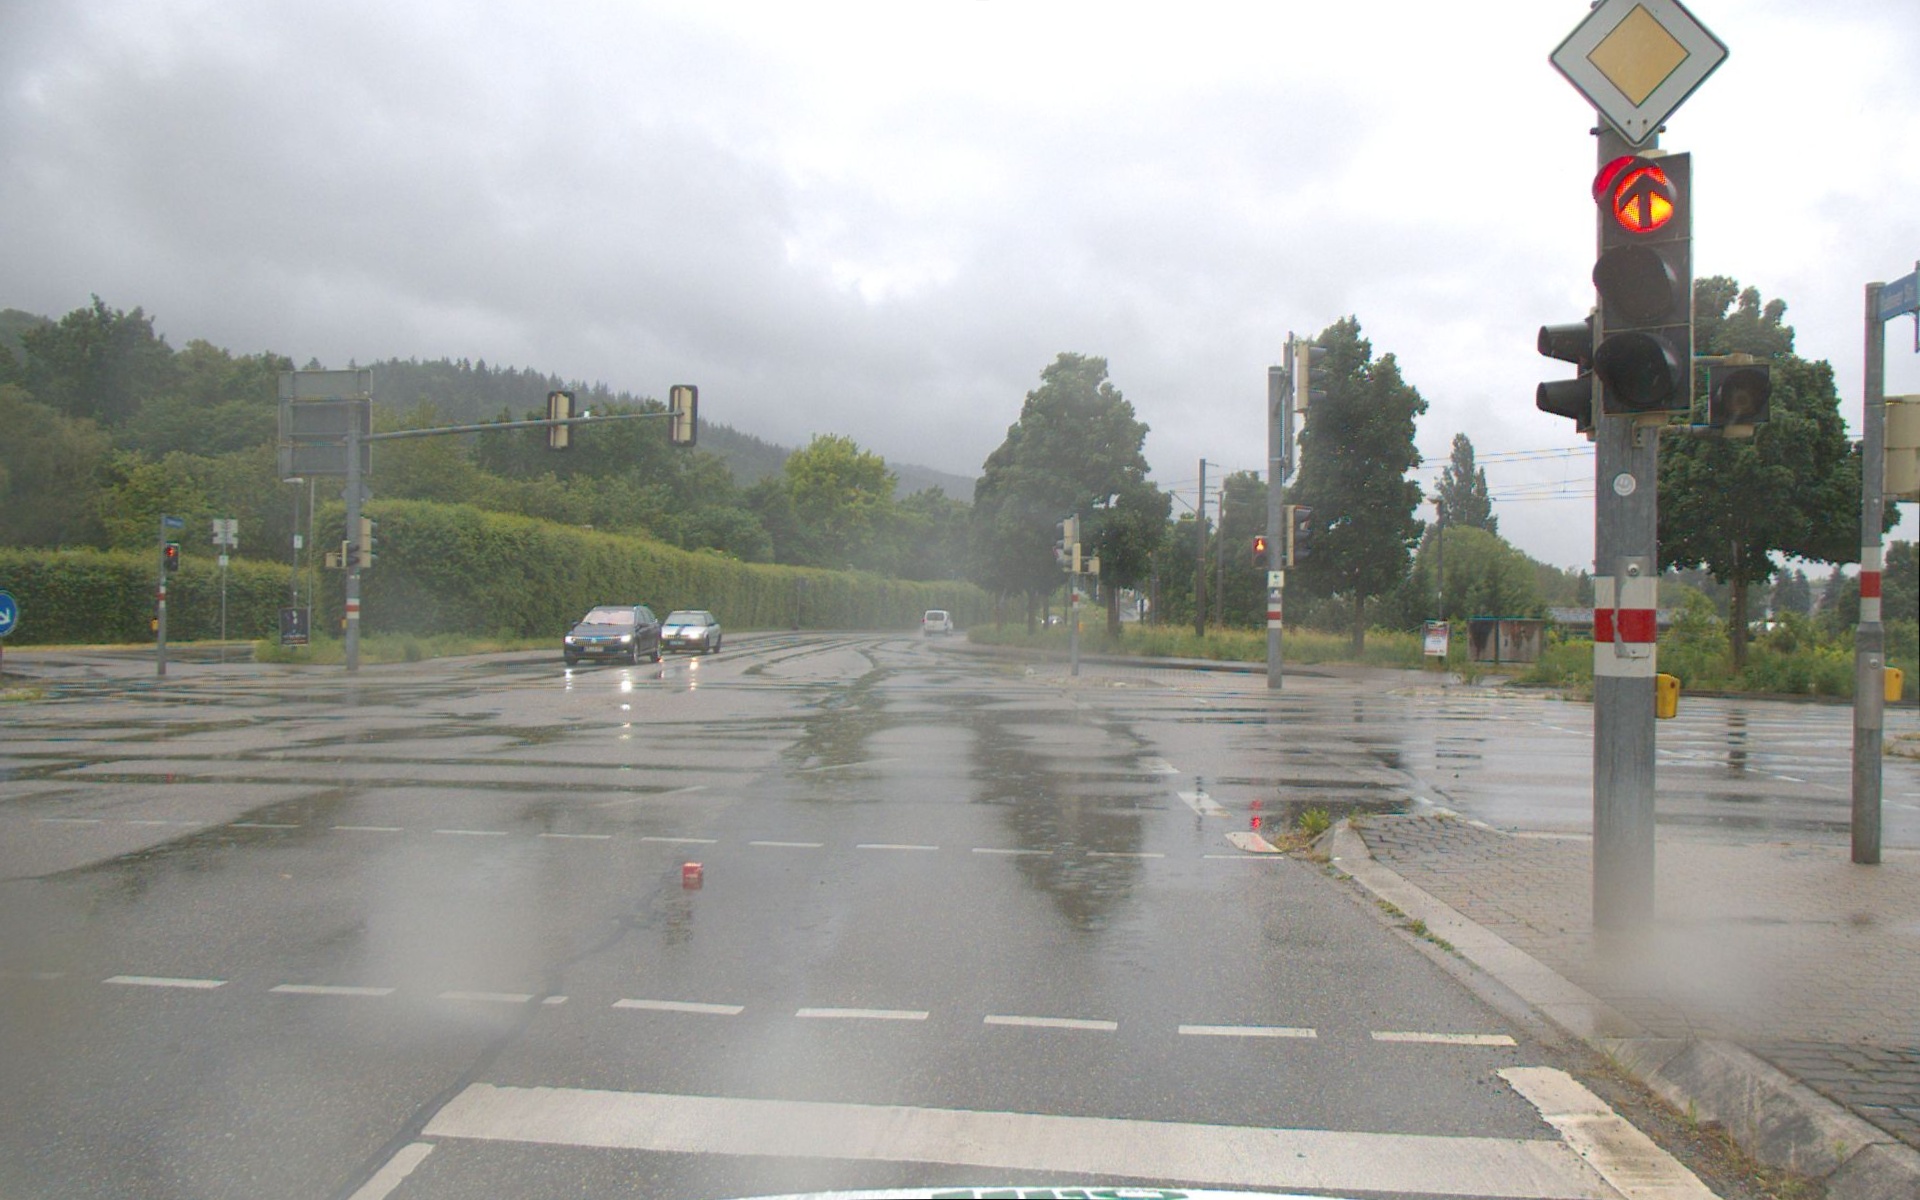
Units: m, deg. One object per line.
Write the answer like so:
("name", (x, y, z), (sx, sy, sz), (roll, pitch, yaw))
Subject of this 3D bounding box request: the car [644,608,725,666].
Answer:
("car", (-8.898, 1.176, 53.738), (1.995, 1.738, 4.065), (1, 0, -1))

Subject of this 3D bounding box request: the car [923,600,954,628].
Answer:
("car", (-1.492, 0.972, 117.655), (1.912, 1.937, 4.122), (0, 0, 3))

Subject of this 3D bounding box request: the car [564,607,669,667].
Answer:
("car", (-8.909, 0.928, 43.283), (1.673, 1.491, 4.454), (0, 0, 2))
